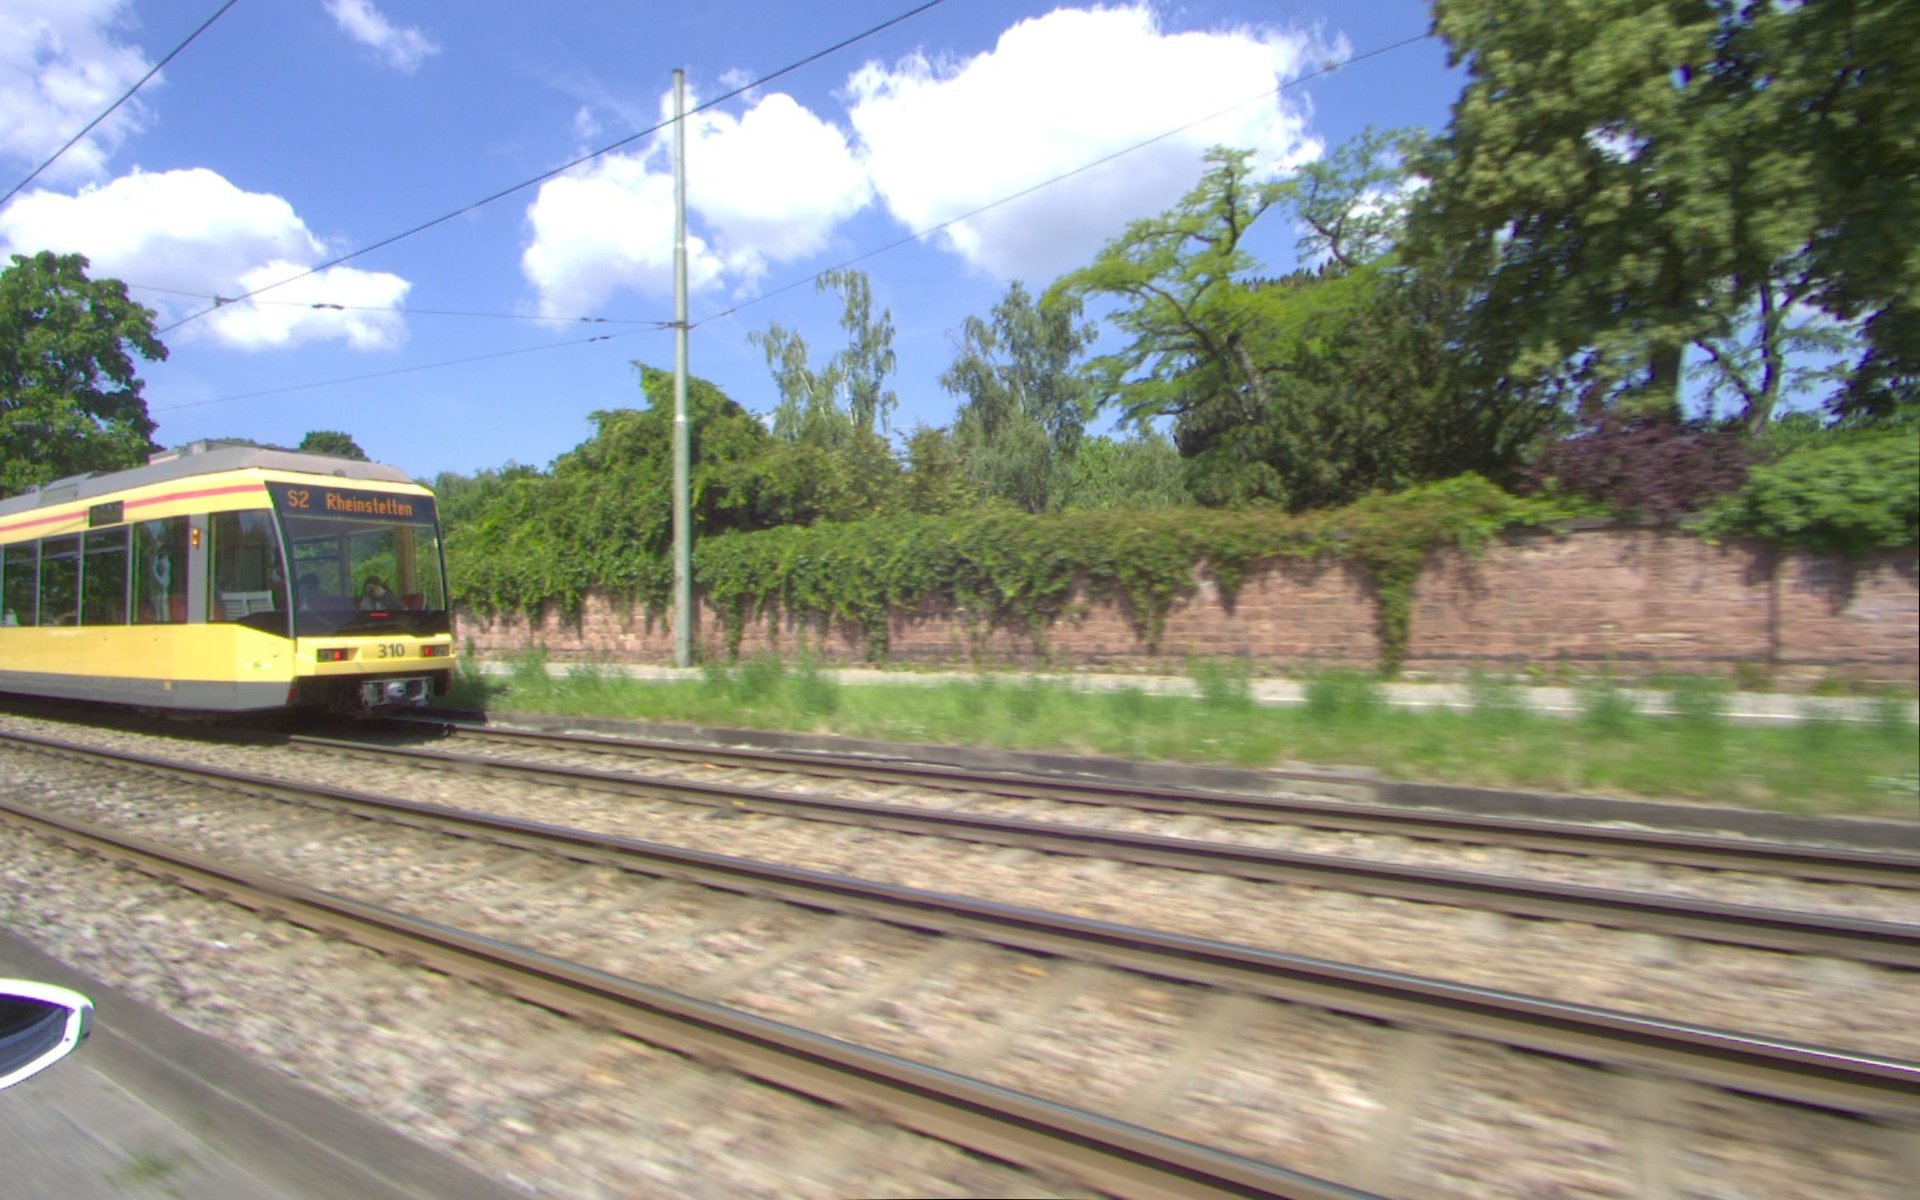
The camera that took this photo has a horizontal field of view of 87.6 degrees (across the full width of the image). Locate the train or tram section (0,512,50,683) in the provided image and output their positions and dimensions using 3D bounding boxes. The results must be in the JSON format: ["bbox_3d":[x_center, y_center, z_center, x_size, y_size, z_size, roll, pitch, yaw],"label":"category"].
[{"bbox_3d":[-29.683,0.066,26.881,19.999,3.740,2.937,-1,-1,33],"label":"train or tram section"}]

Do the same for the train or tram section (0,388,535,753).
[{"bbox_3d":[-13.778,-0.165,16.458,18.129,3.740,2.937,-1,-1,33],"label":"train or tram section"}]
